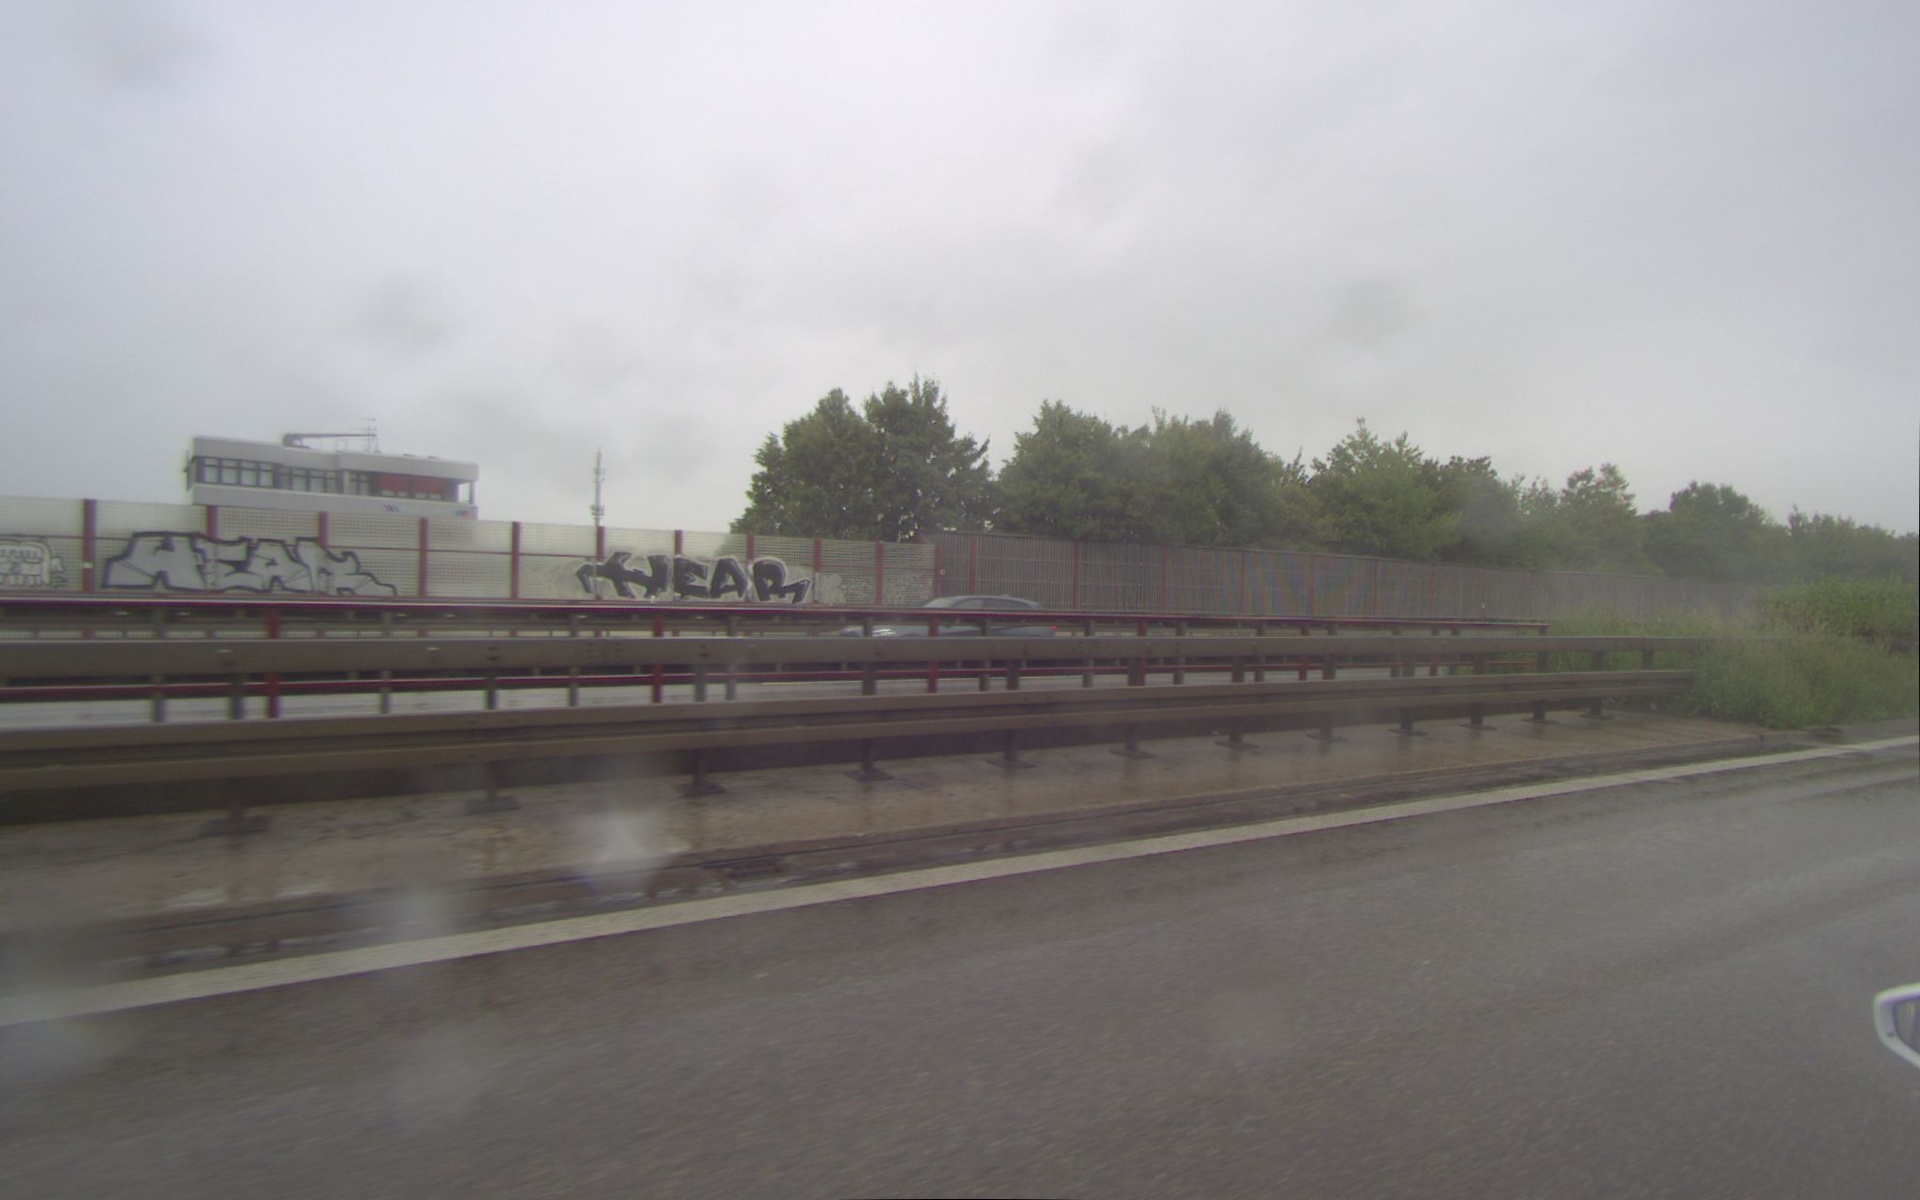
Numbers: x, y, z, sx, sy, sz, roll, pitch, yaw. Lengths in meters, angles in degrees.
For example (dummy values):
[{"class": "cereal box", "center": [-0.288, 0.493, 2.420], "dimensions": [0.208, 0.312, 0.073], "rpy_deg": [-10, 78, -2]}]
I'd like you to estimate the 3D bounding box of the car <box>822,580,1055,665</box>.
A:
[{"class": "car", "center": [-0.379, 0.389, 18.390], "dimensions": [3.874, 1.403, 1.830], "rpy_deg": [1, 0, -30]}]
